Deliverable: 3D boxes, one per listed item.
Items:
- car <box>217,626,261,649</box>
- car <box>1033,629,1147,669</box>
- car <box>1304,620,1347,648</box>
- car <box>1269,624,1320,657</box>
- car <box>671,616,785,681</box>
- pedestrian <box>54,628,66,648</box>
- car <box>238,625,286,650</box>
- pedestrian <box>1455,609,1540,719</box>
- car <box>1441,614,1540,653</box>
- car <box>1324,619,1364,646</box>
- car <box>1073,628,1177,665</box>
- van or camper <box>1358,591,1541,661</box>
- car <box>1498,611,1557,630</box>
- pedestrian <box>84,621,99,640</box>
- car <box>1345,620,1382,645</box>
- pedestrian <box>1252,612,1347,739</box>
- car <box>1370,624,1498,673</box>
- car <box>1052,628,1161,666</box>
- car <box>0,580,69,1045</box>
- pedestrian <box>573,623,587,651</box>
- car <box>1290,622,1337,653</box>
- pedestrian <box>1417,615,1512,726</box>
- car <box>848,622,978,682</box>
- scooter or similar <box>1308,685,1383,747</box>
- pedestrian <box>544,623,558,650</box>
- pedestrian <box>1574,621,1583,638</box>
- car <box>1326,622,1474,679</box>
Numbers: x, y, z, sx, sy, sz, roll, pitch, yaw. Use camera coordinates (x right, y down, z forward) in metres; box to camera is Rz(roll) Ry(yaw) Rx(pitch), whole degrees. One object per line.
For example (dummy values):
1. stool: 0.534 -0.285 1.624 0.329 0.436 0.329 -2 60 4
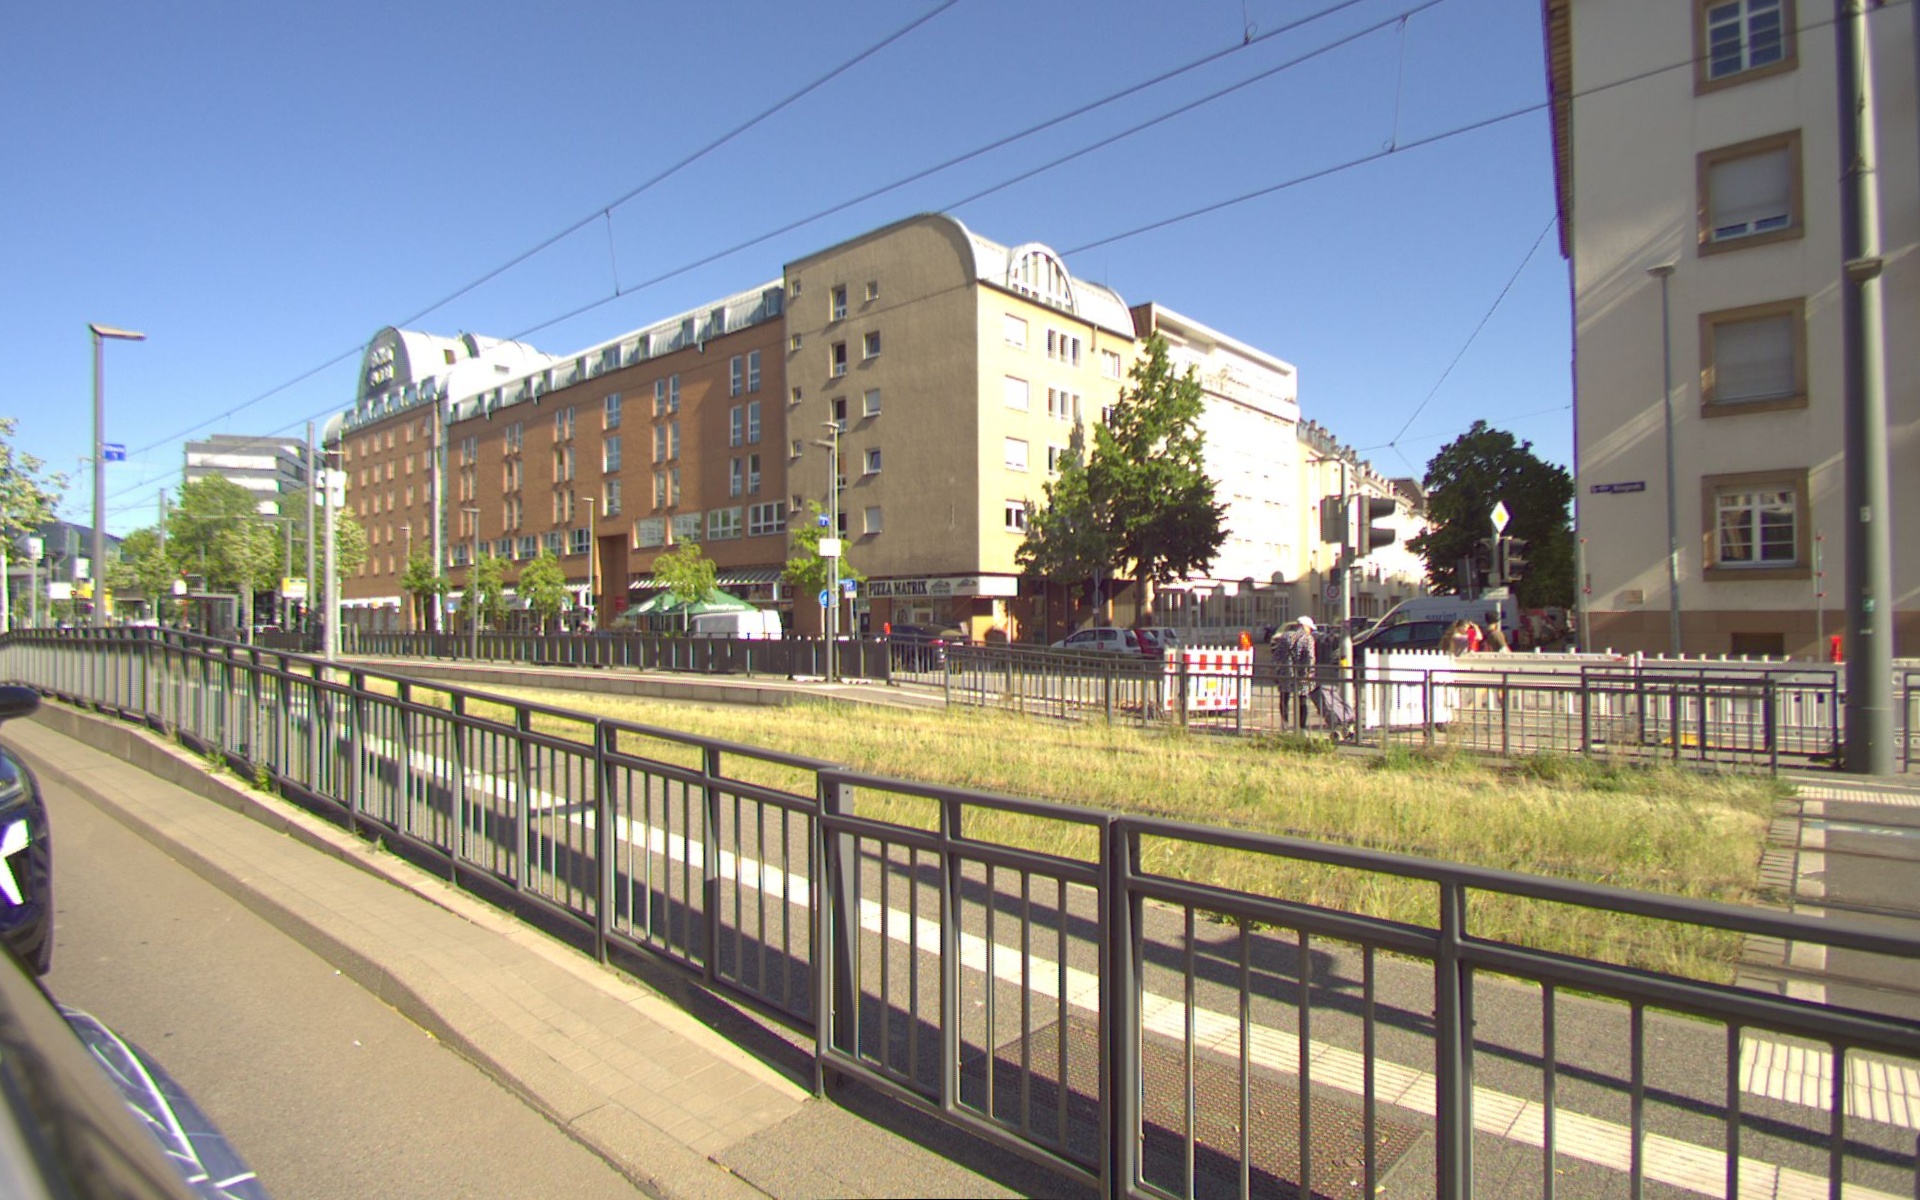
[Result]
1. car: -57.573 2.942 80.758 3.998 1.696 1.973 -1 0 41
2. car: 4.945 1.840 38.555 3.980 1.462 1.768 -1 -2 28
3. car: 22.203 2.045 61.436 1.947 1.674 3.962 -1 -2 28
4. car: 17.773 2.108 53.632 1.947 1.674 3.962 -1 -2 28
5. car: -9.308 1.859 40.212 1.969 2.388 5.653 0 -2 -41
6. pedestrian: -71.758 3.046 80.680 0.599 1.581 0.730 0 -2 -29
7. car: -51.161 2.732 74.125 3.998 1.696 1.973 -1 0 41
8. pedestrian: 9.121 1.060 17.184 0.853 1.794 0.912 -1 -1 -27
9. car: 25.227 1.573 48.201 3.990 1.789 1.722 -1 -2 35
10. car: 25.083 2.090 66.030 1.947 1.674 3.962 -1 -2 28
11. car: 6.927 1.940 42.493 3.980 1.462 1.768 -1 -2 28
12. van or camper: 17.999 0.971 37.384 5.933 2.419 1.979 -1 -2 30
13. car: 44.417 1.612 79.271 3.853 1.472 1.740 -1 -2 24
14. pedestrian: -72.171 2.541 84.069 0.603 1.581 0.725 -1 -1 9
15. car: 28.045 2.220 70.285 1.947 1.674 3.962 -1 -2 28
16. pedestrian: 4.305 0.929 12.881 0.784 1.548 0.817 -1 -1 -15
17. car: 15.614 1.584 33.377 3.654 1.533 1.673 -1 -2 32
18. car: 5.831 1.848 40.363 3.980 1.462 1.768 -1 -2 28
19. car: -5.311 0.766 4.303 3.998 1.618 1.779 -1 0 41
20. pedestrian: -24.799 2.412 66.005 0.644 1.854 0.614 -2 -2 41
21. car: 20.141 2.096 57.566 1.947 1.674 3.962 -1 -2 28
22. pedestrian: 7.466 1.012 15.000 0.853 1.548 0.912 -1 -1 -30
23. car: -1.528 1.609 32.001 3.997 1.773 1.796 -2 -2 40
24. scooter or similar: 4.613 1.379 12.149 0.507 0.656 0.711 -1 -1 -15
25. pedestrian: -28.186 2.542 69.748 0.644 1.854 0.614 -2 -2 39
26. pedestrian: 62.448 2.967 102.190 0.687 1.768 0.807 -2 -2 34
27. car: 12.564 1.424 28.947 3.662 1.533 1.673 -1 -2 32
